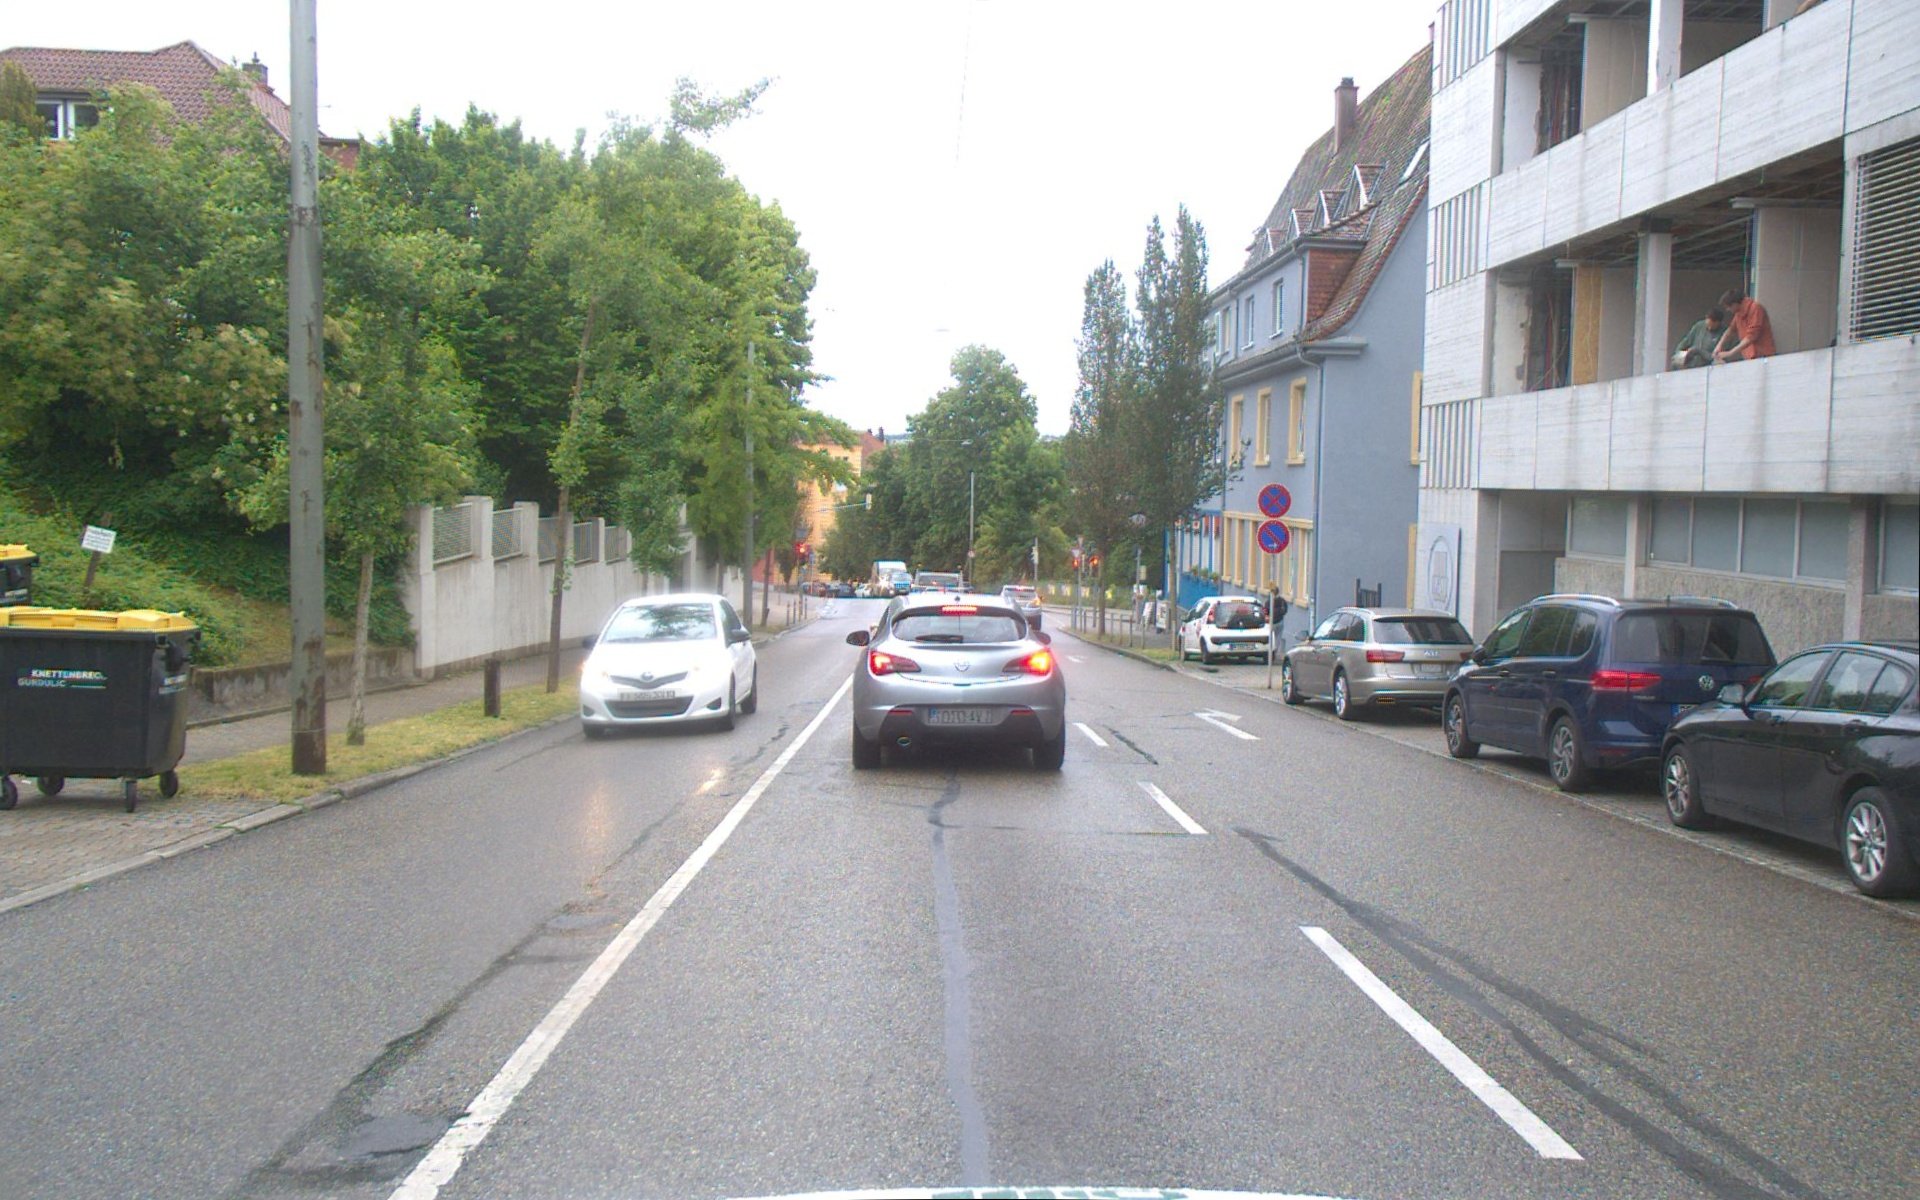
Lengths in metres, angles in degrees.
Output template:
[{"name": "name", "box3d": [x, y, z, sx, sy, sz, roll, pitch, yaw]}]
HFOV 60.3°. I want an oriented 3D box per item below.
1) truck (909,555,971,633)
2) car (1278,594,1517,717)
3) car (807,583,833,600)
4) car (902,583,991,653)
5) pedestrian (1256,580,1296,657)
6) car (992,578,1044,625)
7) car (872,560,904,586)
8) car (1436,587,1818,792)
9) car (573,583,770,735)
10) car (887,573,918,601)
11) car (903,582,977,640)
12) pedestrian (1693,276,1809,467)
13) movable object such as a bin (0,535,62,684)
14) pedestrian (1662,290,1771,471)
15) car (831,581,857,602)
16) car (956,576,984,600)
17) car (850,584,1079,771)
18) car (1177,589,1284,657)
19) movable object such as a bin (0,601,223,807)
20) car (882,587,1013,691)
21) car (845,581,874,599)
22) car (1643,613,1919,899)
[{"name": "truck", "box3d": [-0.728, -0.216, 56.048, 1.922, 2.471, 4.934, 2, 1, -2]}, {"name": "car", "box3d": [5.889, 0.688, 22.873, 1.923, 1.473, 4.524, 0, 1, -3]}, {"name": "car", "box3d": [-14.135, -0.890, 166.848, 1.696, 1.666, 3.859, 0, 0, -18]}, {"name": "car", "box3d": [-0.365, 0.368, 38.393, 1.922, 1.473, 4.304, 2, 1, -2]}, {"name": "pedestrian", "box3d": [7.387, 0.421, 38.698, 0.767, 1.759, 0.650, 2, 0, -1]}, {"name": "car", "box3d": [2.230, 0.046, 64.127, 1.688, 1.744, 3.878, 0, 0, -3]}, {"name": "car", "box3d": [-4.780, -1.792, 109.138, 1.691, 1.666, 3.871, 0, 0, -9]}, {"name": "car", "box3d": [5.922, 0.701, 15.265, 1.694, 1.627, 4.159, 0, 0, -3]}, {"name": "car", "box3d": [-3.292, 0.614, 19.543, 1.674, 1.558, 3.841, -2, 0, -1]}, {"name": "car", "box3d": [-3.530, -0.802, 101.521, 1.833, 1.666, 3.878, 0, 0, -2]}, {"name": "car", "box3d": [-0.593, 0.262, 46.050, 1.922, 1.473, 4.304, 2, 1, -2]}, {"name": "pedestrian", "box3d": [9.023, -2.587, 18.894, 0.889, 2.049, 0.861, 1, -1, -1]}, {"name": "movable object such as a bin", "box3d": [-10.224, 0.068, 17.083, 1.274, 1.387, 1.226, 1, 6, -8]}, {"name": "pedestrian", "box3d": [9.139, -2.634, 20.011, 0.889, 2.049, 0.861, 1, -1, -1]}, {"name": "car", "box3d": [-9.954, -0.720, 142.098, 1.692, 1.666, 3.868, 2, 0, -12]}, {"name": "car", "box3d": [0.703, -0.865, 117.885, 1.689, 1.666, 3.876, 0, 0, -4]}, {"name": "car", "box3d": [-0.050, 0.599, 15.005, 1.800, 1.459, 3.878, 1, 0, -3]}, {"name": "car", "box3d": [6.104, 0.486, 37.758, 1.688, 1.473, 3.878, 0, 0, -2]}, {"name": "movable object such as a bin", "box3d": [-5.989, 0.697, 11.527, 1.274, 1.329, 1.153, 1, 1, -9]}, {"name": "car", "box3d": [-0.257, 0.567, 26.852, 1.922, 1.473, 4.304, 2, 1, -2]}, {"name": "car", "box3d": [-9.050, -0.878, 148.133, 1.696, 1.570, 3.859, 0, 0, -18]}, {"name": "car", "box3d": [6.069, 0.857, 10.633, 1.712, 1.473, 4.252, 0, 0, 2]}]
